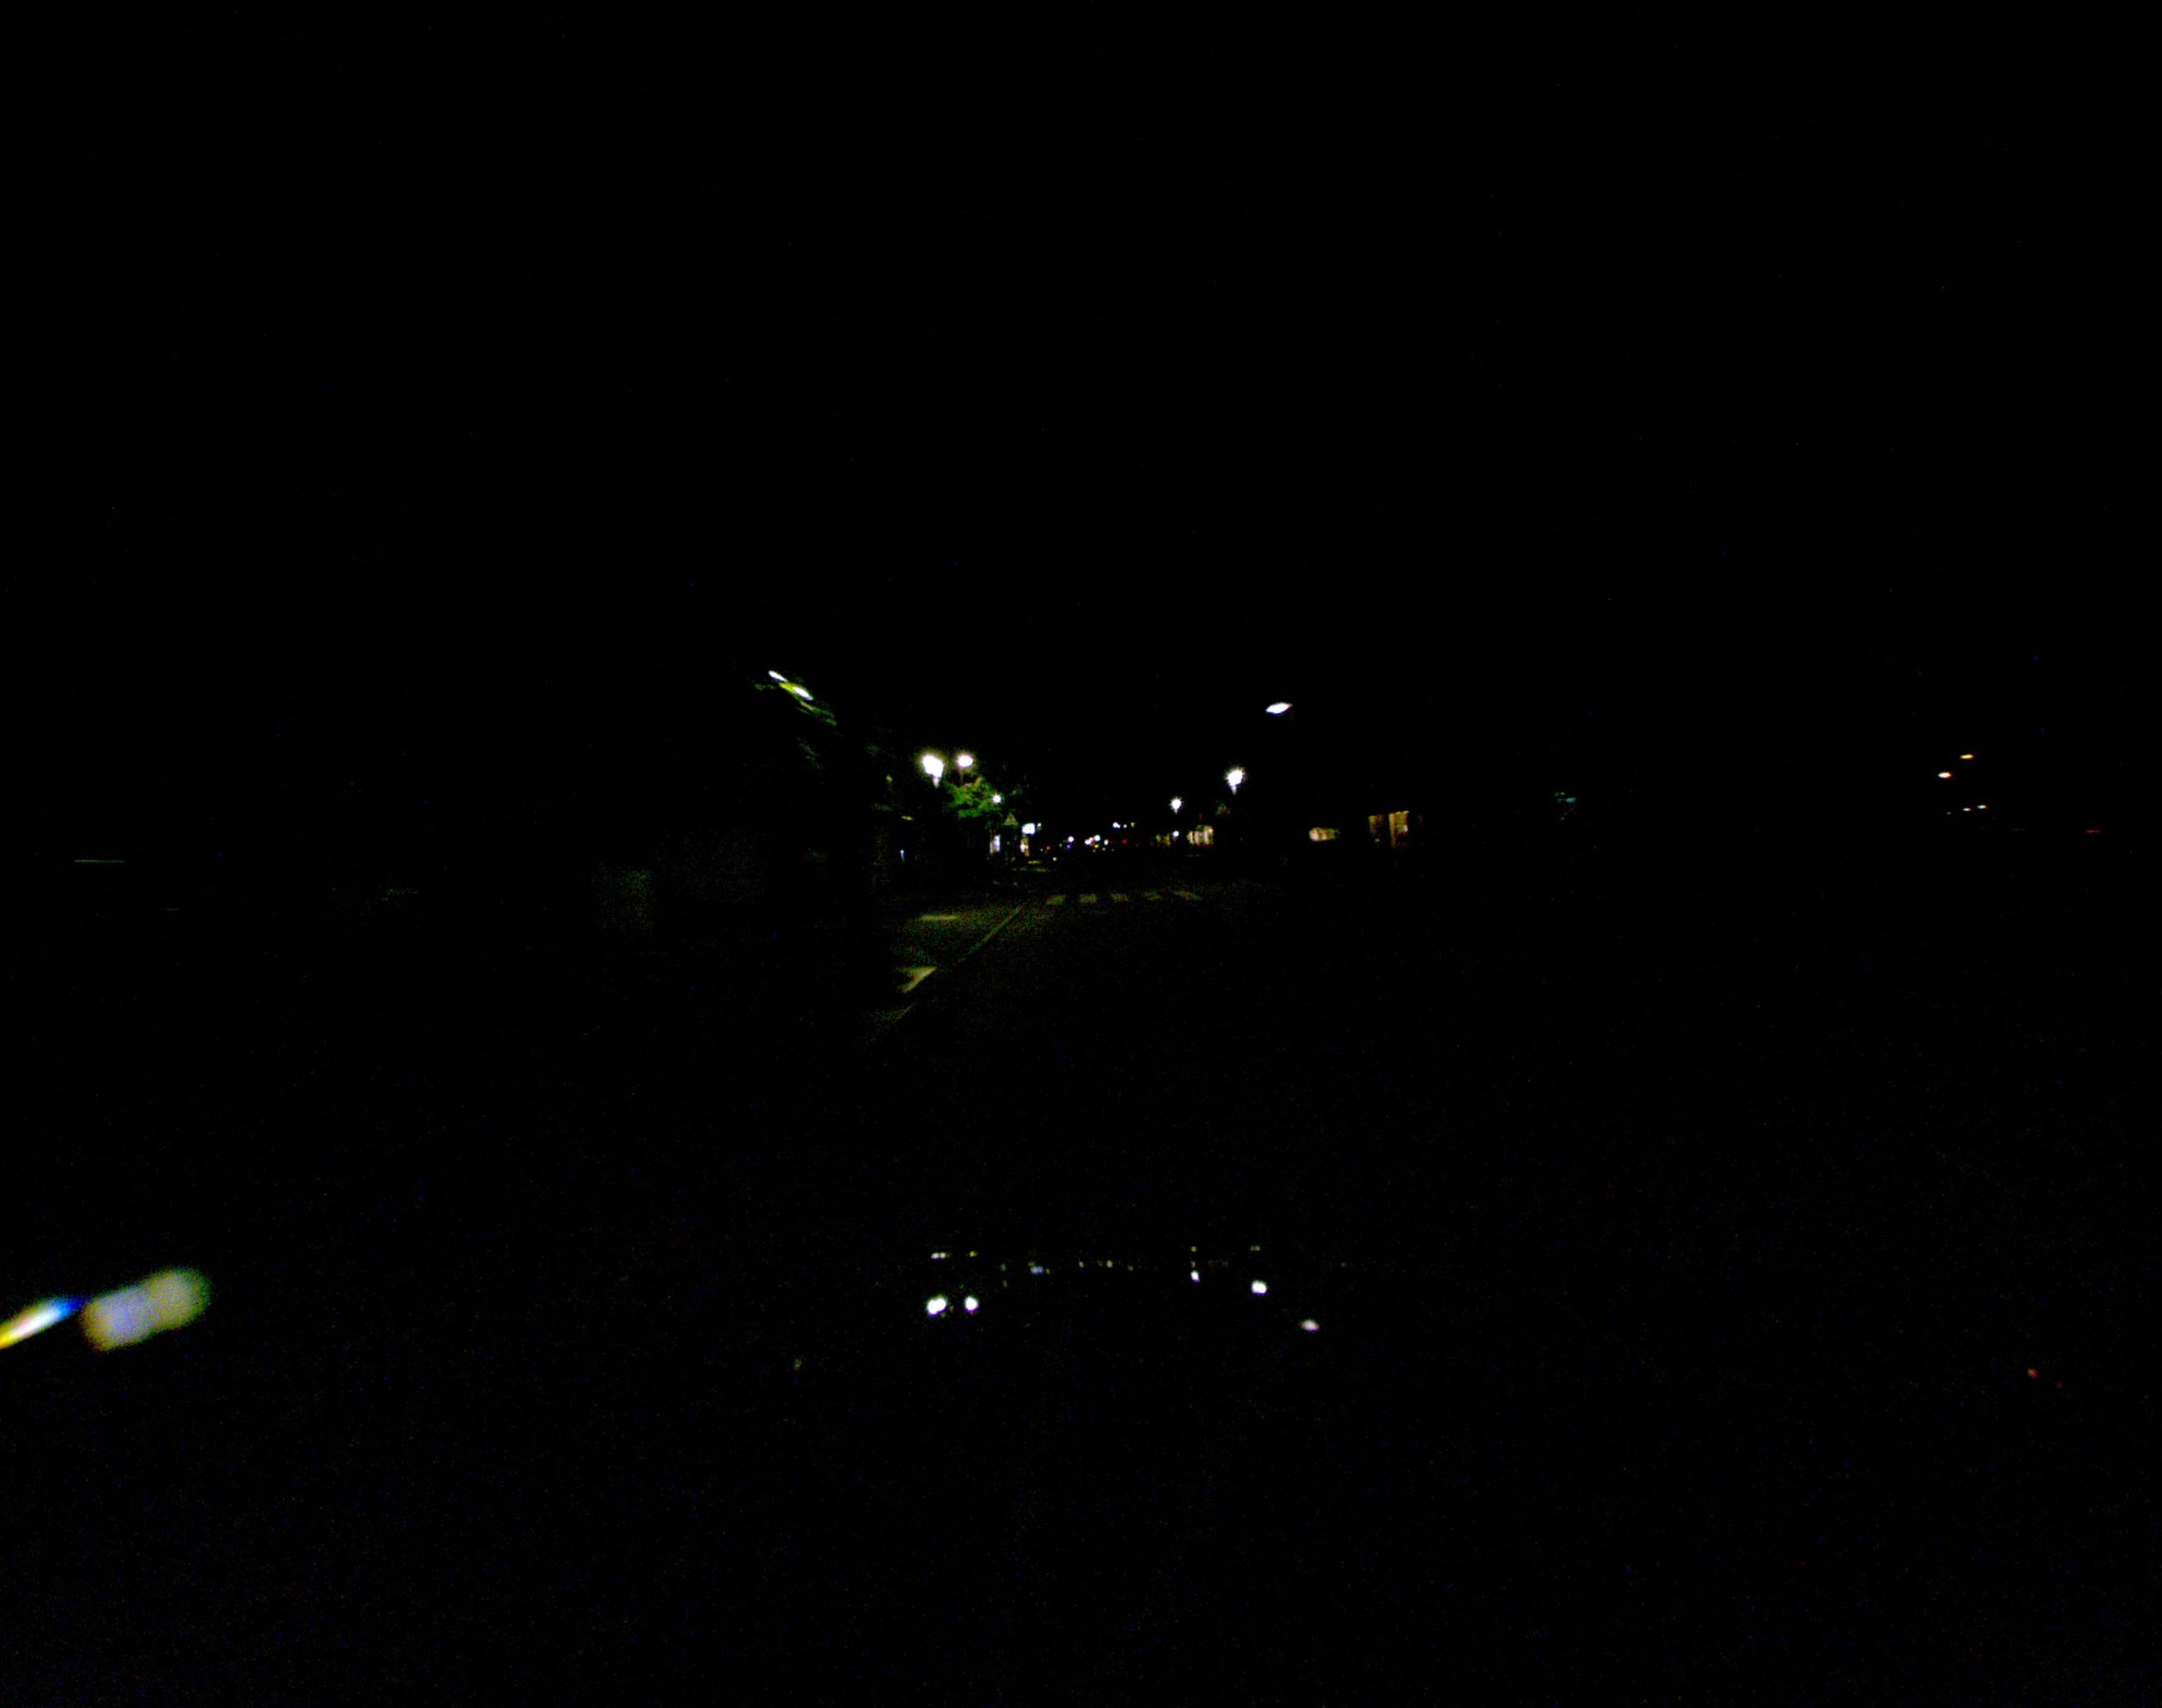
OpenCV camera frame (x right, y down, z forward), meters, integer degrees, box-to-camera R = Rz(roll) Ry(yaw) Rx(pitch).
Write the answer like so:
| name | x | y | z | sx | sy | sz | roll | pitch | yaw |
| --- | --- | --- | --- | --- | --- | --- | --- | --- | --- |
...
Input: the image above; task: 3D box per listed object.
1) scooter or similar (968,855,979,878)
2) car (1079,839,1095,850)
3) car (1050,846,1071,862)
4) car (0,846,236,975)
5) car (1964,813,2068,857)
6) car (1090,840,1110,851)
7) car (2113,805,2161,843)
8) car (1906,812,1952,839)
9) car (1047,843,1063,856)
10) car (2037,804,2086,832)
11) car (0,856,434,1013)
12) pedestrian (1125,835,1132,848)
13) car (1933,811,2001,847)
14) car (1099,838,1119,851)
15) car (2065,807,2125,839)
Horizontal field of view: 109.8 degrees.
| name | x | y | z | sx | sy | sz | roll | pitch | yaw |
| --- | --- | --- | --- | --- | --- | --- | --- | --- | --- |
| scooter or similar | -6.132 | 0.708 | 43.352 | 0.374 | 1.269 | 1.305 | -2 | 2 | 2 |
| car | 0.948 | -1.541 | 122.619 | 1.776 | 1.565 | 4.478 | -4 | 2 | -8 |
| car | -1.967 | 0.003 | 72.066 | 1.739 | 1.432 | 4.494 | -3 | 1 | -4 |
| car | -13.982 | 0.696 | 9.709 | 1.809 | 1.452 | 4.055 | 2 | 2 | 0 |
| car | 31.523 | -0.621 | 25.738 | 4.008 | 1.368 | 1.816 | -1 | 1 | -45 |
| car | 2.746 | -1.231 | 111.763 | 1.911 | 1.533 | 4.776 | -4 | 1 | -12 |
| car | 47.172 | -1.348 | 33.527 | 3.425 | 1.560 | 1.571 | -4 | 3 | -43 |
| car | 56.390 | -1.860 | 50.583 | 4.008 | 1.628 | 1.816 | -1 | 1 | -45 |
| car | -3.519 | -0.593 | 101.864 | 1.747 | 1.479 | 4.632 | -3 | 2 | -7 |
| car | 60.432 | -2.232 | 46.867 | 3.425 | 1.560 | 1.571 | -4 | 3 | -43 |
| car | -11.172 | 0.858 | 10.019 | 1.809 | 1.452 | 4.055 | 2 | 2 | 0 |
| pedestrian | 6.807 | -1.734 | 108.712 | 0.793 | 1.807 | 1.024 | -4 | 2 | 14 |
| car | 42.772 | -1.165 | 36.760 | 4.008 | 1.628 | 1.816 | -1 | 1 | -45 |
| car | 3.886 | -1.347 | 106.028 | 1.764 | 1.628 | 4.810 | -3 | 1 | -10 |
| car | 54.160 | -1.664 | 40.624 | 3.425 | 1.560 | 1.571 | -4 | 3 | -43 |
